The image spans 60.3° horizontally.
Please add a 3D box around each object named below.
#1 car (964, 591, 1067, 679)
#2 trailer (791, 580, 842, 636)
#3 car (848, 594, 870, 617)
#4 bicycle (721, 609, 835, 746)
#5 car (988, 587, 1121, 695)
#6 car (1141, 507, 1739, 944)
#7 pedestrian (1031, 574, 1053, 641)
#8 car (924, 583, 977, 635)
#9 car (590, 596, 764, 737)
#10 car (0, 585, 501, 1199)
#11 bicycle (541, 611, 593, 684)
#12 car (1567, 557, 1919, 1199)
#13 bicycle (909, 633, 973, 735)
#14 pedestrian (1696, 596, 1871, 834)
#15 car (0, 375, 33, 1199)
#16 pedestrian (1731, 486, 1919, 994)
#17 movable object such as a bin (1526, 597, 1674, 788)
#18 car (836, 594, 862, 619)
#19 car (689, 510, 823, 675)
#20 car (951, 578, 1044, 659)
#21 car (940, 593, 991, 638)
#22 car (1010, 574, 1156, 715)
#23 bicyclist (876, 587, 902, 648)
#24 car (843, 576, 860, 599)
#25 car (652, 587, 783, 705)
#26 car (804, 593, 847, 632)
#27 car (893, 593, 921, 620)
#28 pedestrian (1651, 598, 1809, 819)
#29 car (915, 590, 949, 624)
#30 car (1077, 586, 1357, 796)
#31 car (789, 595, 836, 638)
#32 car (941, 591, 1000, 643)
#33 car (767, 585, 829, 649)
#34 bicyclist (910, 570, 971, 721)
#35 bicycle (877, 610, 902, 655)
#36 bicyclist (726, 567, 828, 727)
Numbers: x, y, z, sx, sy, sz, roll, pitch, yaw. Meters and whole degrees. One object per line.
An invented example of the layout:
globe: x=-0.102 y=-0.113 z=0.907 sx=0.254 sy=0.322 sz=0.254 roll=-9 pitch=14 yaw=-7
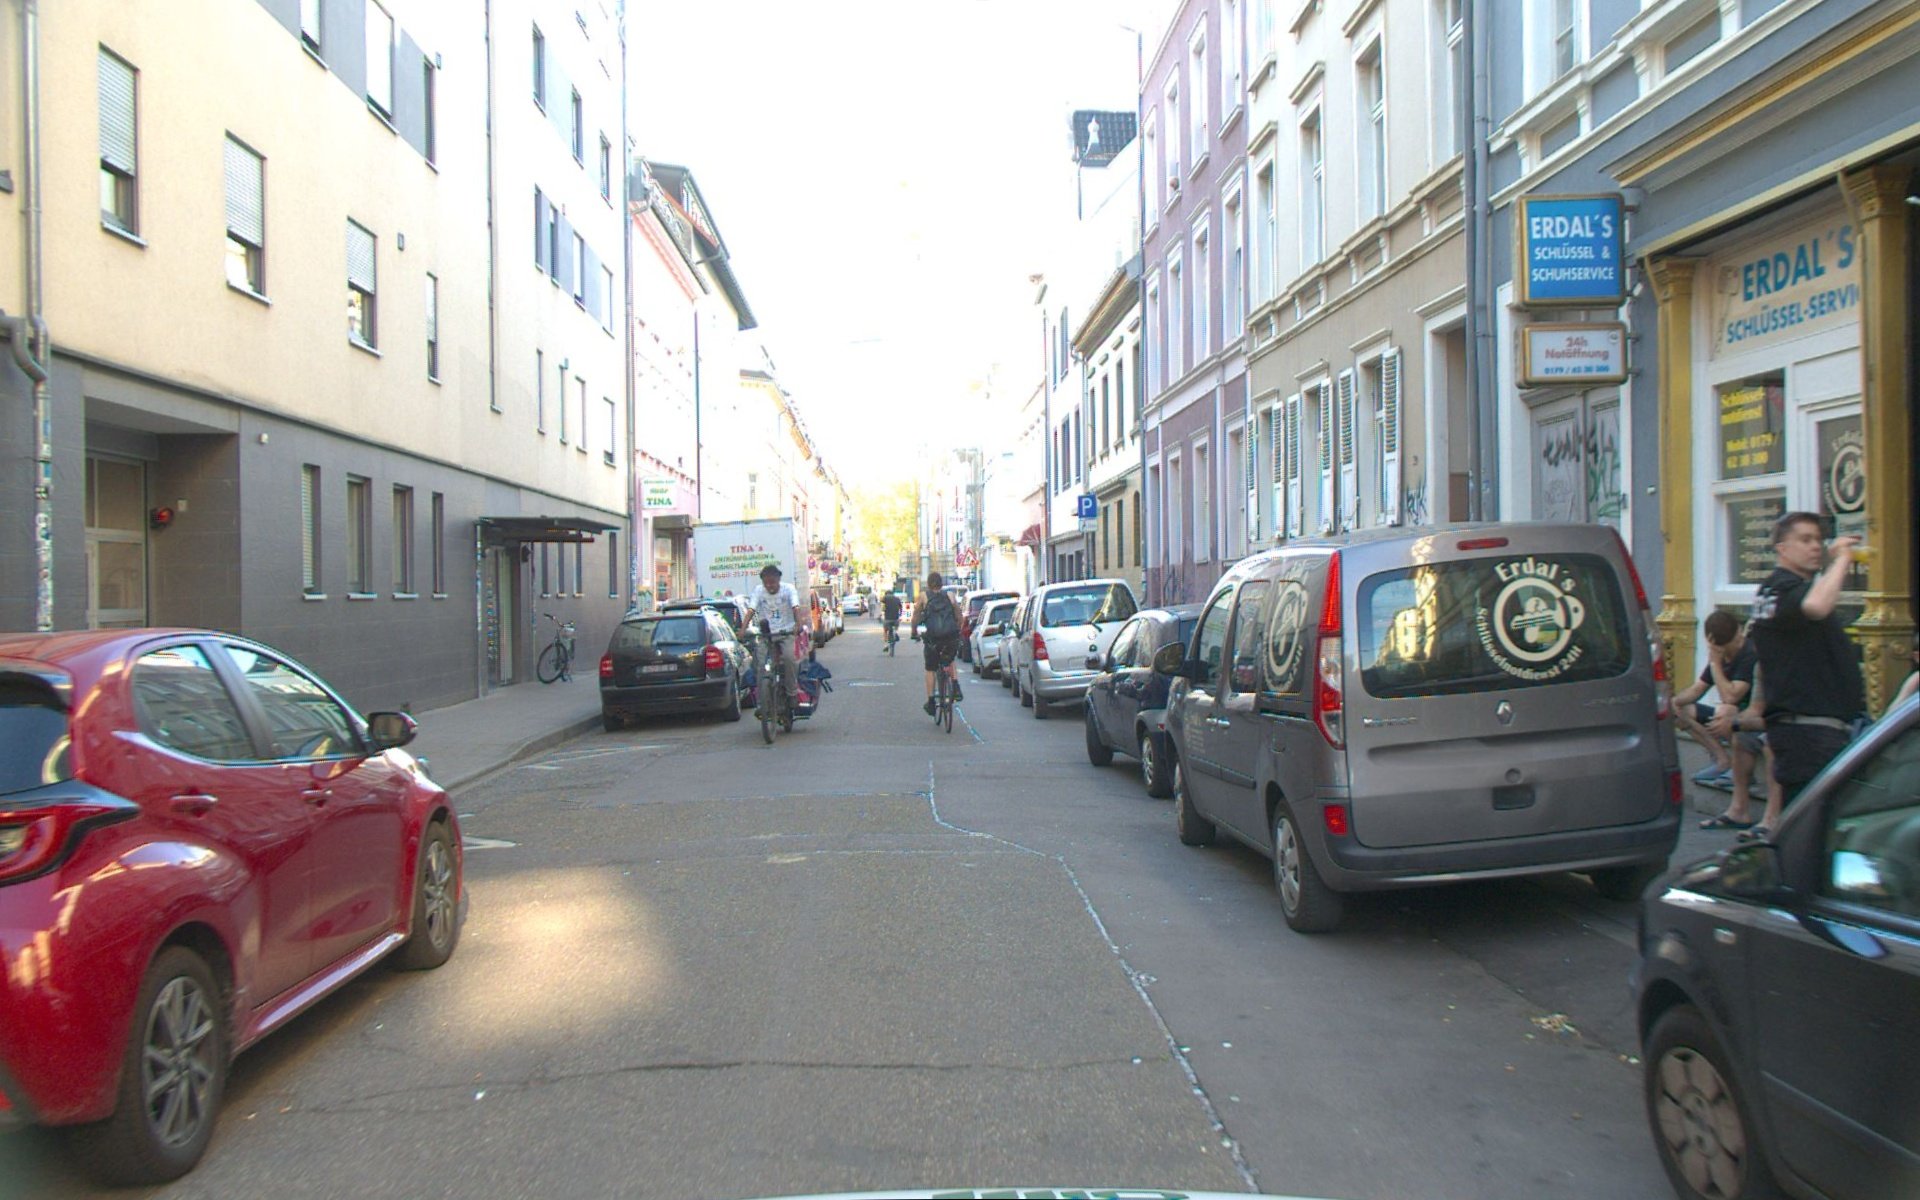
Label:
car: x=1.047 y=0.665 z=33.059 sx=1.653 sy=1.570 sz=4.043 roll=-3 pitch=0 yaw=-3
trailer: x=-5.844 y=0.327 z=67.663 sx=1.844 sy=2.129 sz=3.735 roll=-2 pitch=0 yaw=-3
car: x=-8.439 y=0.431 z=138.432 sx=1.715 sy=1.853 sz=3.793 roll=-2 pitch=0 yaw=-3
bicycle: x=-1.972 y=0.801 z=18.278 sx=0.957 sy=1.337 sz=2.555 roll=-2 pitch=0 yaw=-1
car: x=1.487 y=0.639 z=27.704 sx=1.663 sy=1.570 sz=4.626 roll=-3 pitch=0 yaw=-3
car: x=2.269 y=0.538 z=9.121 sx=1.861 sy=1.825 sz=4.312 roll=0 pitch=0 yaw=-3
pedestrian: x=2.547 y=0.228 z=51.468 sx=0.631 sy=2.049 sz=0.763 roll=0 pitch=-1 yaw=-3
car: x=-0.390 y=0.349 z=64.677 sx=1.716 sy=1.911 sz=3.968 roll=-2 pitch=0 yaw=-5
car: x=-3.632 y=0.778 z=21.932 sx=1.683 sy=1.504 sz=4.496 roll=-4 pitch=1 yaw=-3
car: x=-2.967 y=0.814 z=5.739 sx=1.716 sy=1.548 sz=3.867 roll=-4 pitch=0 yaw=-2
bicycle: x=-6.807 y=0.806 z=28.698 sx=0.480 sy=1.185 sz=1.773 roll=-3 pitch=0 yaw=-2
car: x=2.517 y=0.677 z=2.936 sx=1.538 sy=1.584 sz=3.313 roll=-4 pitch=0 yaw=-1
bicycle: x=-0.239 y=0.945 z=19.220 sx=0.663 sy=1.093 sz=1.940 roll=0 pitch=0 yaw=-3
pedestrian: x=4.648 y=0.628 z=9.367 sx=0.662 sy=1.299 sz=0.654 roll=0 pitch=-1 yaw=-1
car: x=-2.874 y=0.523 z=0.780 sx=1.979 sy=1.912 sz=5.295 roll=0 pitch=0 yaw=-1
pedestrian: x=3.167 y=0.479 z=5.983 sx=0.432 sy=1.734 sz=0.654 roll=0 pitch=-1 yaw=-2
movable object such as a bin: x=4.448 y=0.628 z=11.523 sx=0.747 sy=1.265 sz=0.580 roll=-2 pitch=0 yaw=-5
car: x=-8.095 y=0.459 z=120.940 sx=1.715 sy=1.713 sz=3.793 roll=-2 pitch=0 yaw=-3
car: x=-4.568 y=-0.135 z=38.289 sx=2.297 sy=3.349 sz=7.151 roll=-3 pitch=0 yaw=-2
car: x=0.871 y=0.451 z=41.143 sx=1.880 sy=1.735 sz=4.363 roll=-5 pitch=0 yaw=-3
car: x=0.159 y=0.564 z=59.637 sx=1.715 sy=1.513 sz=3.798 roll=-2 pitch=0 yaw=-1
car: x=1.580 y=0.559 z=22.222 sx=1.525 sy=1.742 sz=3.556 roll=0 pitch=0 yaw=-3
bicyclist: x=-1.876 y=0.453 z=43.415 sx=0.657 sy=1.595 sz=0.716 roll=0 pitch=-1 yaw=-4
car: x=-11.654 y=-1.335 z=177.856 sx=1.715 sy=2.358 sz=3.793 roll=-2 pitch=0 yaw=-3
car: x=-3.988 y=0.695 z=27.778 sx=1.683 sy=1.679 sz=4.243 roll=-4 pitch=1 yaw=-3
car: x=-5.837 y=0.539 z=71.995 sx=1.715 sy=1.600 sz=3.793 roll=-2 pitch=0 yaw=-3
car: x=-3.156 y=0.385 z=98.235 sx=1.579 sy=1.587 sz=3.608 roll=0 pitch=0 yaw=-3
pedestrian: x=4.666 y=0.641 z=10.054 sx=0.662 sy=1.299 sz=0.628 roll=0 pitch=-1 yaw=-1
car: x=-1.419 y=0.363 z=81.828 sx=1.579 sy=1.662 sz=3.608 roll=0 pitch=0 yaw=-3
car: x=2.034 y=0.678 z=14.001 sx=1.522 sy=1.537 sz=3.608 roll=0 pitch=0 yaw=-5
car: x=-5.609 y=0.618 z=63.258 sx=1.620 sy=1.564 sz=3.632 roll=-2 pitch=0 yaw=-3
car: x=0.307 y=0.536 z=53.721 sx=1.613 sy=1.500 sz=3.968 roll=-5 pitch=0 yaw=-3
car: x=-5.096 y=0.532 z=52.423 sx=1.718 sy=1.848 sz=4.075 roll=-3 pitch=0 yaw=-3
bicyclist: x=-0.237 y=0.516 z=19.205 sx=0.654 sy=1.706 sz=1.096 roll=0 pitch=-1 yaw=-3
bicycle: x=-1.858 y=0.844 z=43.390 sx=0.635 sy=1.149 sz=2.134 roll=0 pitch=0 yaw=-3
bicyclist: x=-1.982 y=0.498 z=18.049 sx=0.931 sy=1.656 sz=0.953 roll=-3 pitch=0 yaw=-1
